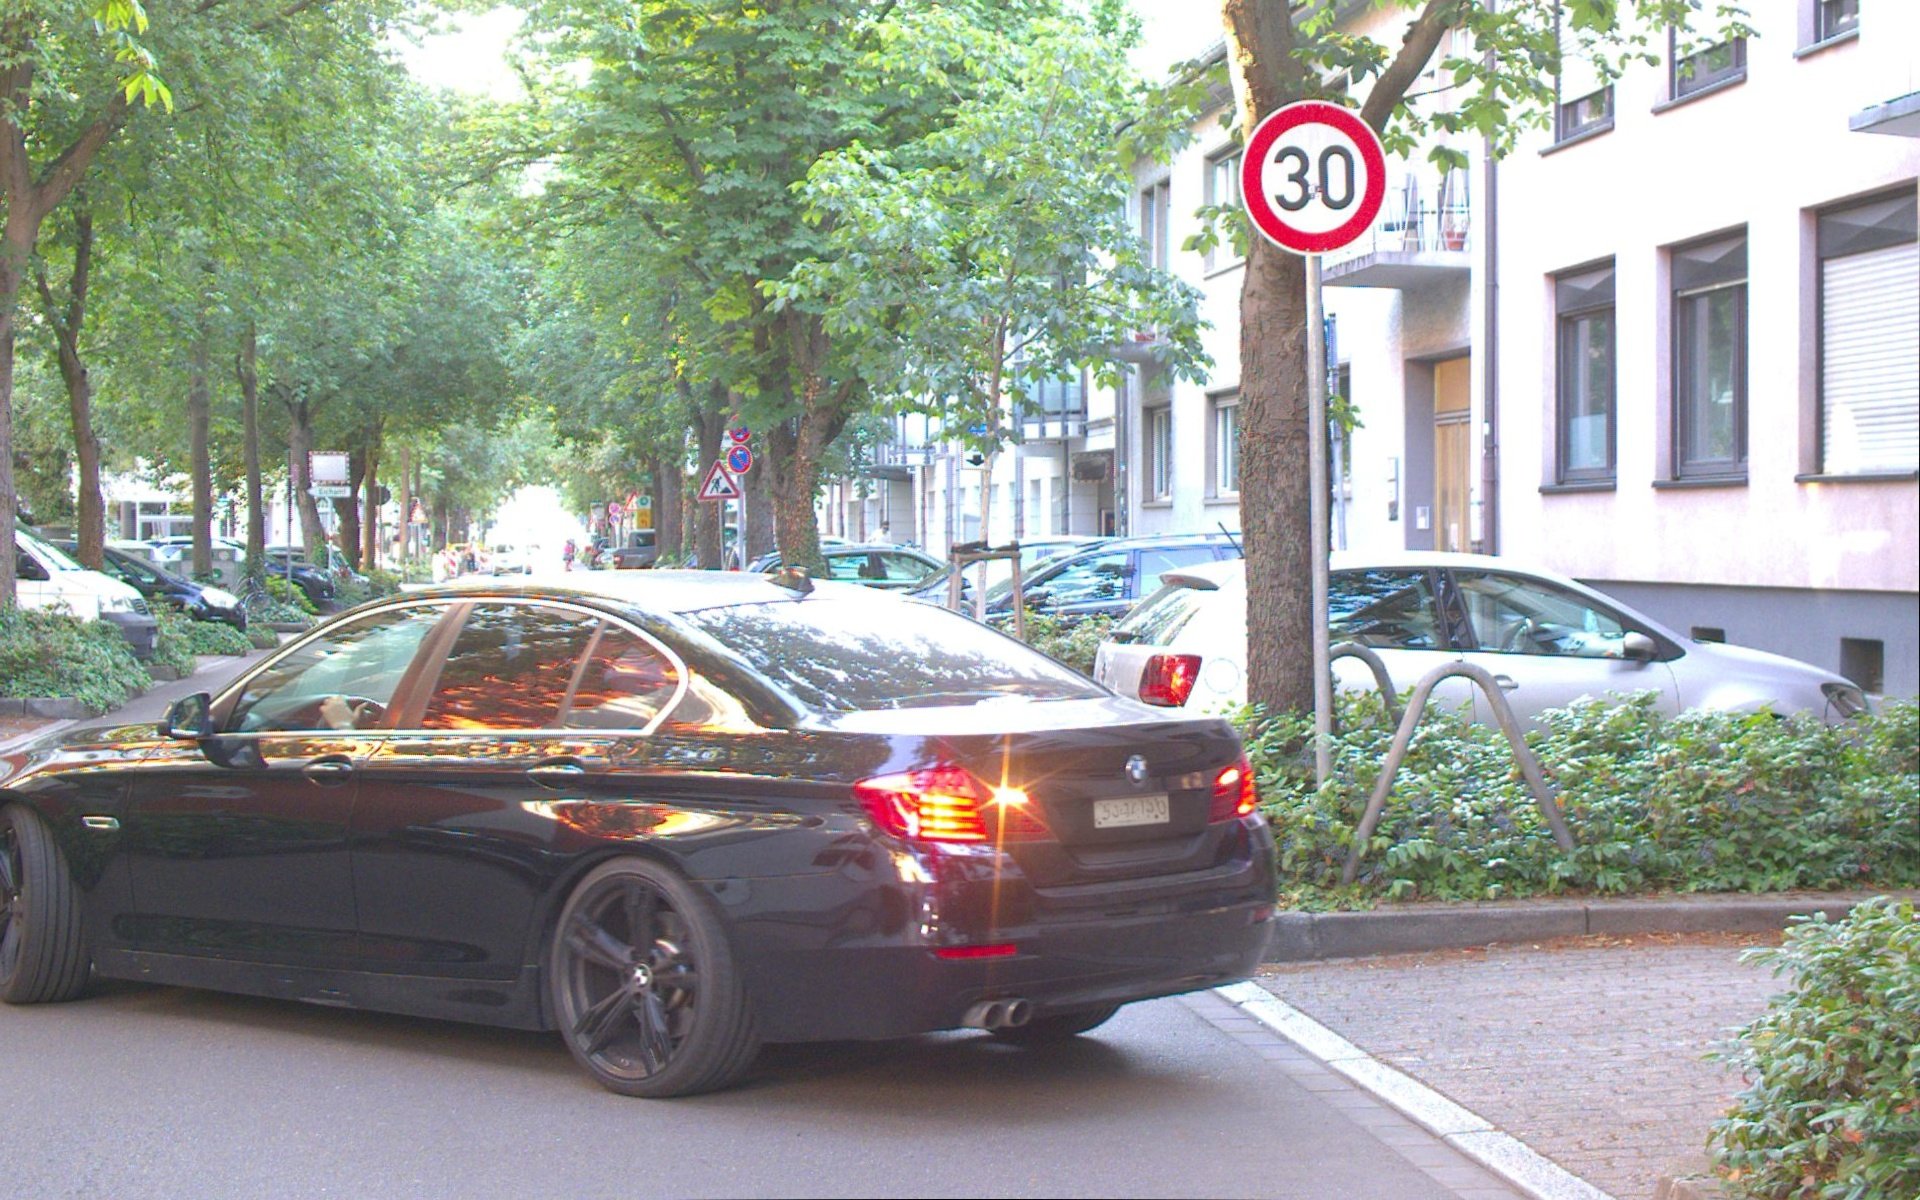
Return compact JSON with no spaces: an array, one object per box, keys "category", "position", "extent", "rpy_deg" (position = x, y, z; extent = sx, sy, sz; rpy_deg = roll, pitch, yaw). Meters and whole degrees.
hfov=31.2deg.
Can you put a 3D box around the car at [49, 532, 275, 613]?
[{"category":"car","position":[-15.114,-0.534,65.276],"extent":[4.020,1.466,1.640],"rpy_deg":[1,1,-7]}]

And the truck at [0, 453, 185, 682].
[{"category":"truck","position":[-11.169,-0.404,37.692],"extent":[4.998,2.432,1.916],"rpy_deg":[1,2,-5]}]

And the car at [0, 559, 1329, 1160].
[{"category":"car","position":[-1.278,0.615,10.688],"extent":[4.664,1.445,1.764],"rpy_deg":[1,2,41]}]

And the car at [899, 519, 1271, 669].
[{"category":"car","position":[1.327,-0.084,37.280],"extent":[3.791,1.524,1.566],"rpy_deg":[-1,1,-8]}]

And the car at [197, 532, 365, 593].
[{"category":"car","position":[-17.009,-0.945,86.235],"extent":[4.020,1.466,1.640],"rpy_deg":[1,1,-7]}]

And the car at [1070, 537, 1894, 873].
[{"category":"car","position":[2.487,0.462,16.771],"extent":[3.656,1.474,1.566],"rpy_deg":[-1,1,-8]}]

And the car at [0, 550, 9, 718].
[{"category":"car","position":[-10.395,0.281,29.440],"extent":[4.131,1.466,1.640],"rpy_deg":[1,1,-7]}]

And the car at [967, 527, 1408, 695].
[{"category":"car","position":[1.997,0.074,30.656],"extent":[3.656,1.388,1.566],"rpy_deg":[-1,1,-8]}]

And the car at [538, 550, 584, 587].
[{"category":"car","position":[-17.596,-1.406,151.602],"extent":[1.993,1.546,4.001],"rpy_deg":[0,1,-7]}]

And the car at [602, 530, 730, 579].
[{"category":"car","position":[-8.711,-1.351,101.658],"extent":[3.656,1.388,1.566],"rpy_deg":[-1,1,-8]}]

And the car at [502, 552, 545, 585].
[{"category":"car","position":[-20.364,-1.476,160.628],"extent":[1.894,1.470,4.001],"rpy_deg":[0,1,-6]}]

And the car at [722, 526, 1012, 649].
[{"category":"car","position":[-1.251,-0.180,45.547],"extent":[3.656,1.531,1.566],"rpy_deg":[-1,1,-8]}]

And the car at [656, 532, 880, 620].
[{"category":"car","position":[-3.277,-0.420,58.337],"extent":[3.656,1.388,1.566],"rpy_deg":[-1,1,-8]}]
